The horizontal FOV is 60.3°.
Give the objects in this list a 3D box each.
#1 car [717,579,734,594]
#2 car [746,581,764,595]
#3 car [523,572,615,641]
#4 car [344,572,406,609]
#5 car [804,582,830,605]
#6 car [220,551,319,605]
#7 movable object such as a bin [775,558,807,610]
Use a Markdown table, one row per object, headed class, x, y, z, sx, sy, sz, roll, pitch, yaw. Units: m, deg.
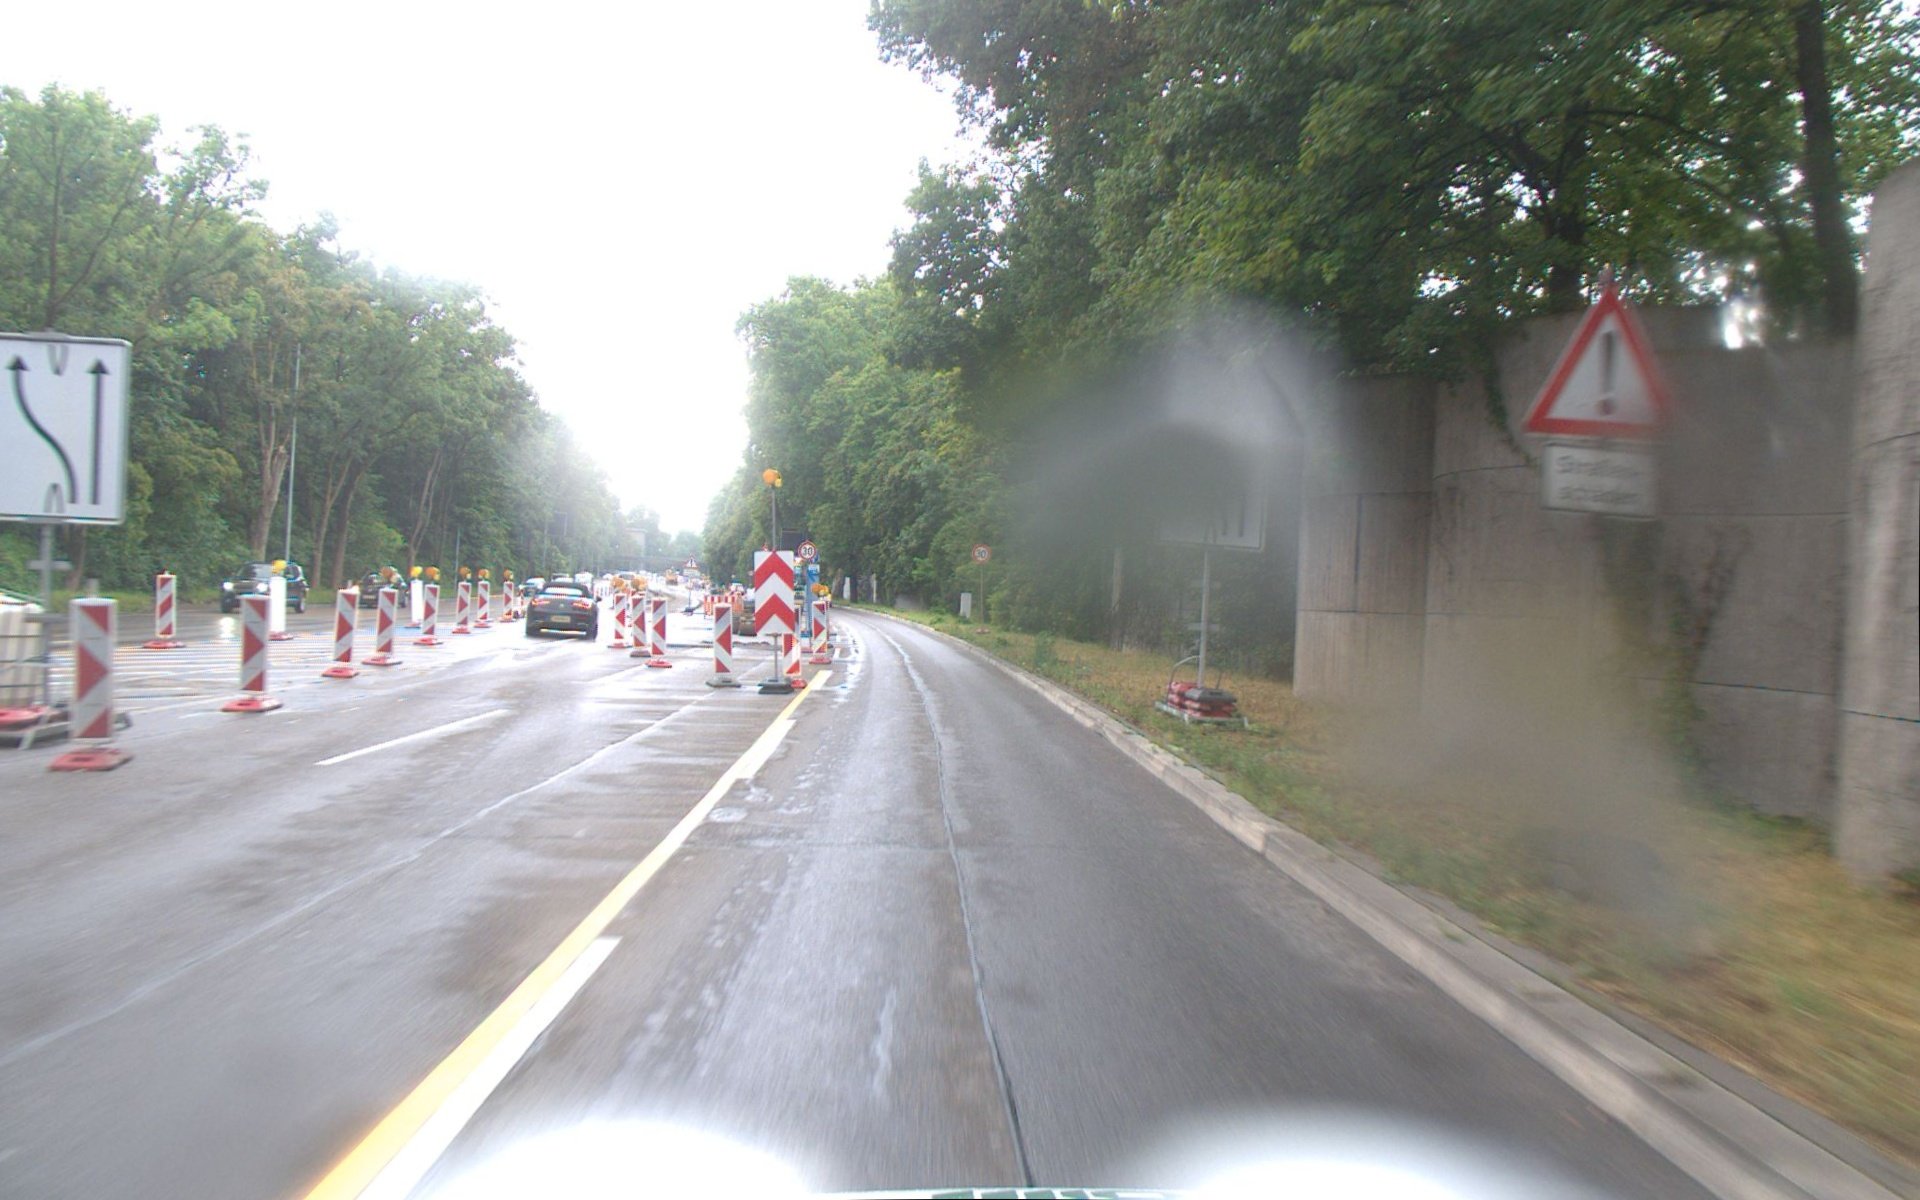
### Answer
| class | x | y | z | sx | sy | sz | roll | pitch | yaw |
| --- | --- | --- | --- | --- | --- | --- | --- | --- | --- |
| car | -30.108 | -1.756 | 212.524 | 1.839 | 1.645 | 3.997 | 5 | 1 | -5 |
| car | -22.402 | -1.324 | 180.613 | 1.725 | 1.367 | 3.992 | 3 | 2 | -10 |
| car | -10.463 | 0.128 | 44.478 | 1.826 | 1.517 | 3.996 | 3 | 3 | -6 |
| car | -24.374 | -0.405 | 69.035 | 1.495 | 1.483 | 3.537 | 0 | 0 | -3 |
| car | -11.053 | -0.490 | 128.341 | 1.877 | 1.625 | 4.829 | 3 | 1 | -5 |
| car | -22.687 | -0.726 | 54.495 | 1.603 | 1.676 | 4.197 | 1 | 1 | -2 |
| movable object such as a bin | -9.782 | -0.924 | 95.671 | 1.713 | 2.917 | 3.530 | 1 | 0 | -6 |
